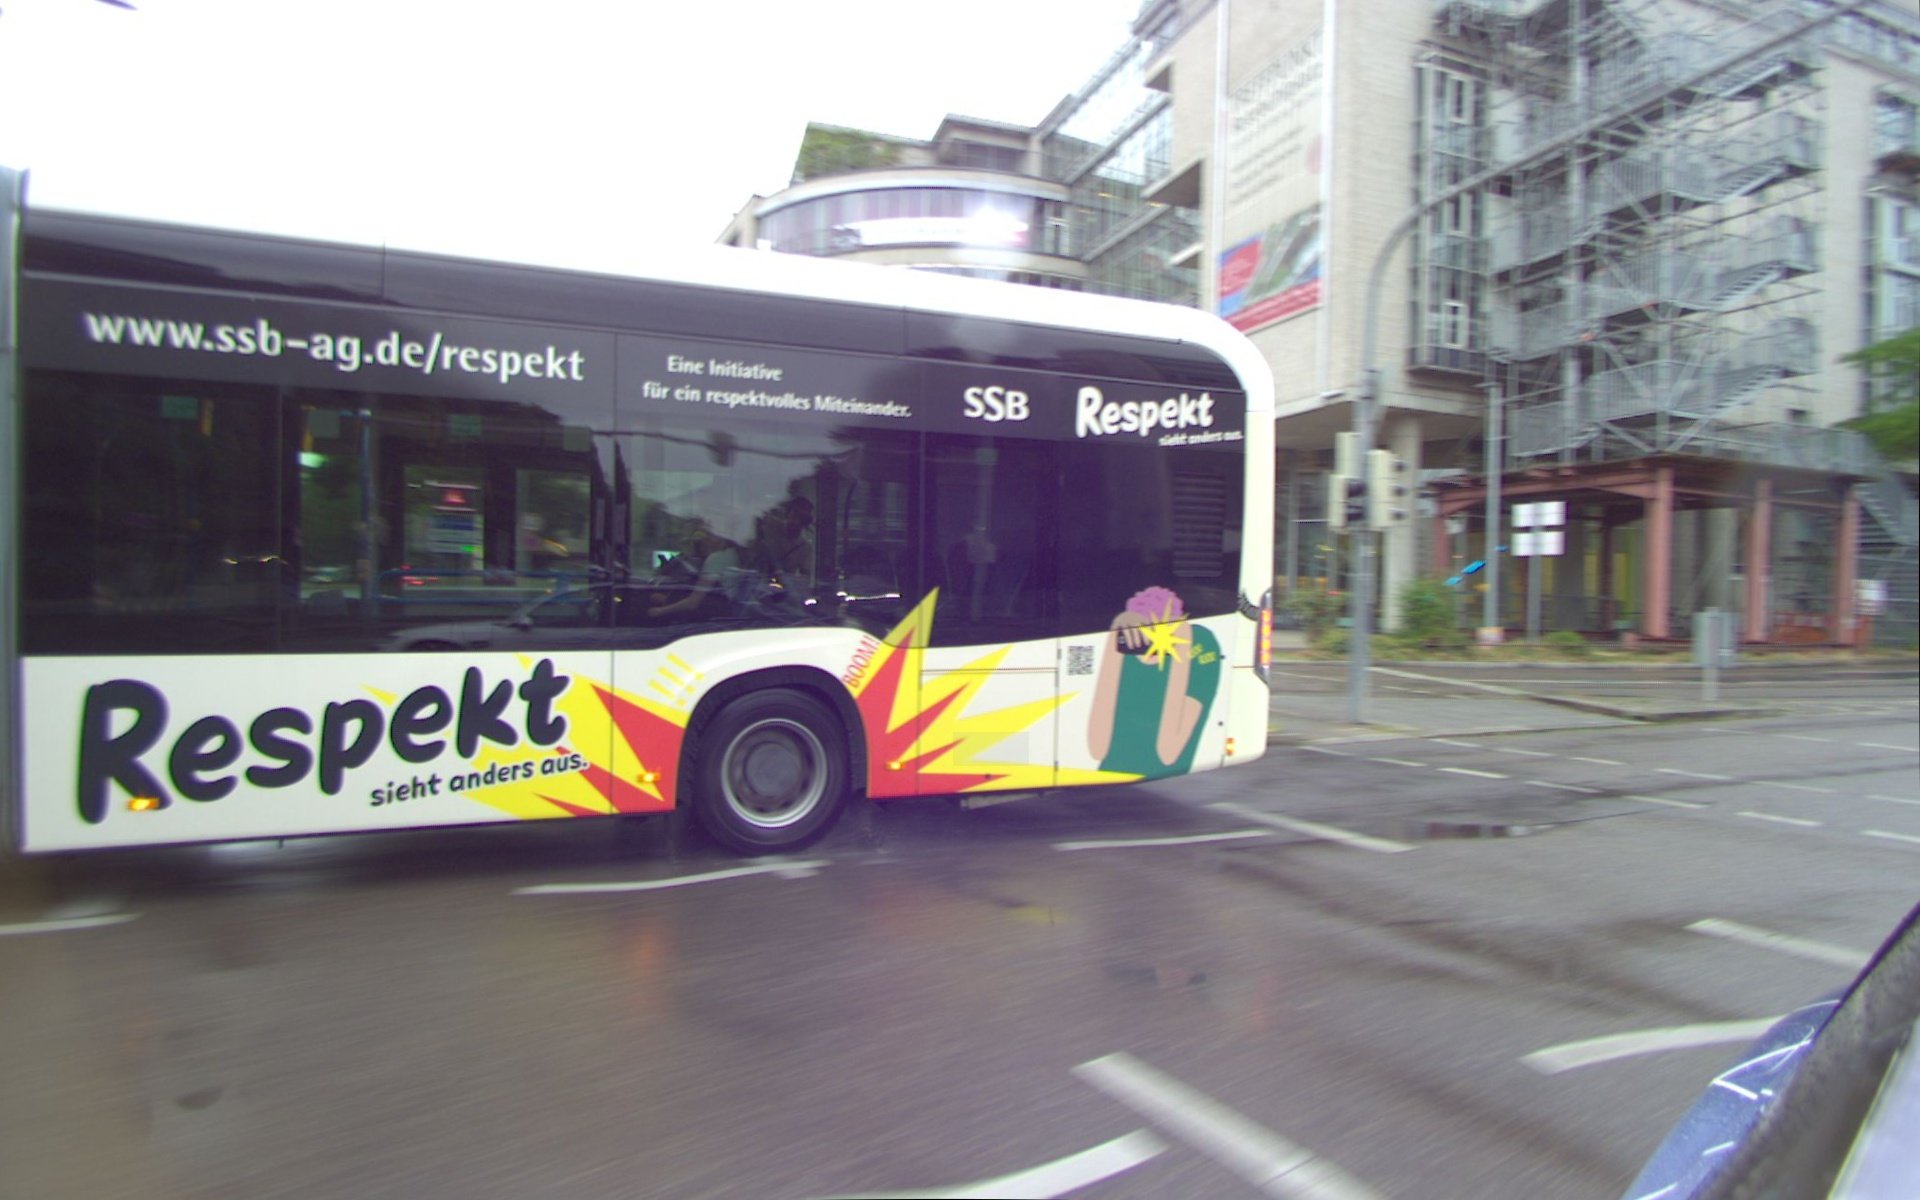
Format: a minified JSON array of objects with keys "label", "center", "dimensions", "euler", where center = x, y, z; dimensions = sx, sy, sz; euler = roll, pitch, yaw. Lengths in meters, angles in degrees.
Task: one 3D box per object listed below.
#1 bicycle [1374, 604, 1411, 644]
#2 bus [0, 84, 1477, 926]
[{"label":"bicycle","center":[13.666,0.731,31.930],"dimensions":[0.584,1.209,1.590],"euler":[0,0,43]},{"label":"bus","center":[-1.442,-0.373,6.647],"dimensions":[9.506,3.483,2.898],"euler":[1,0,-20]}]
